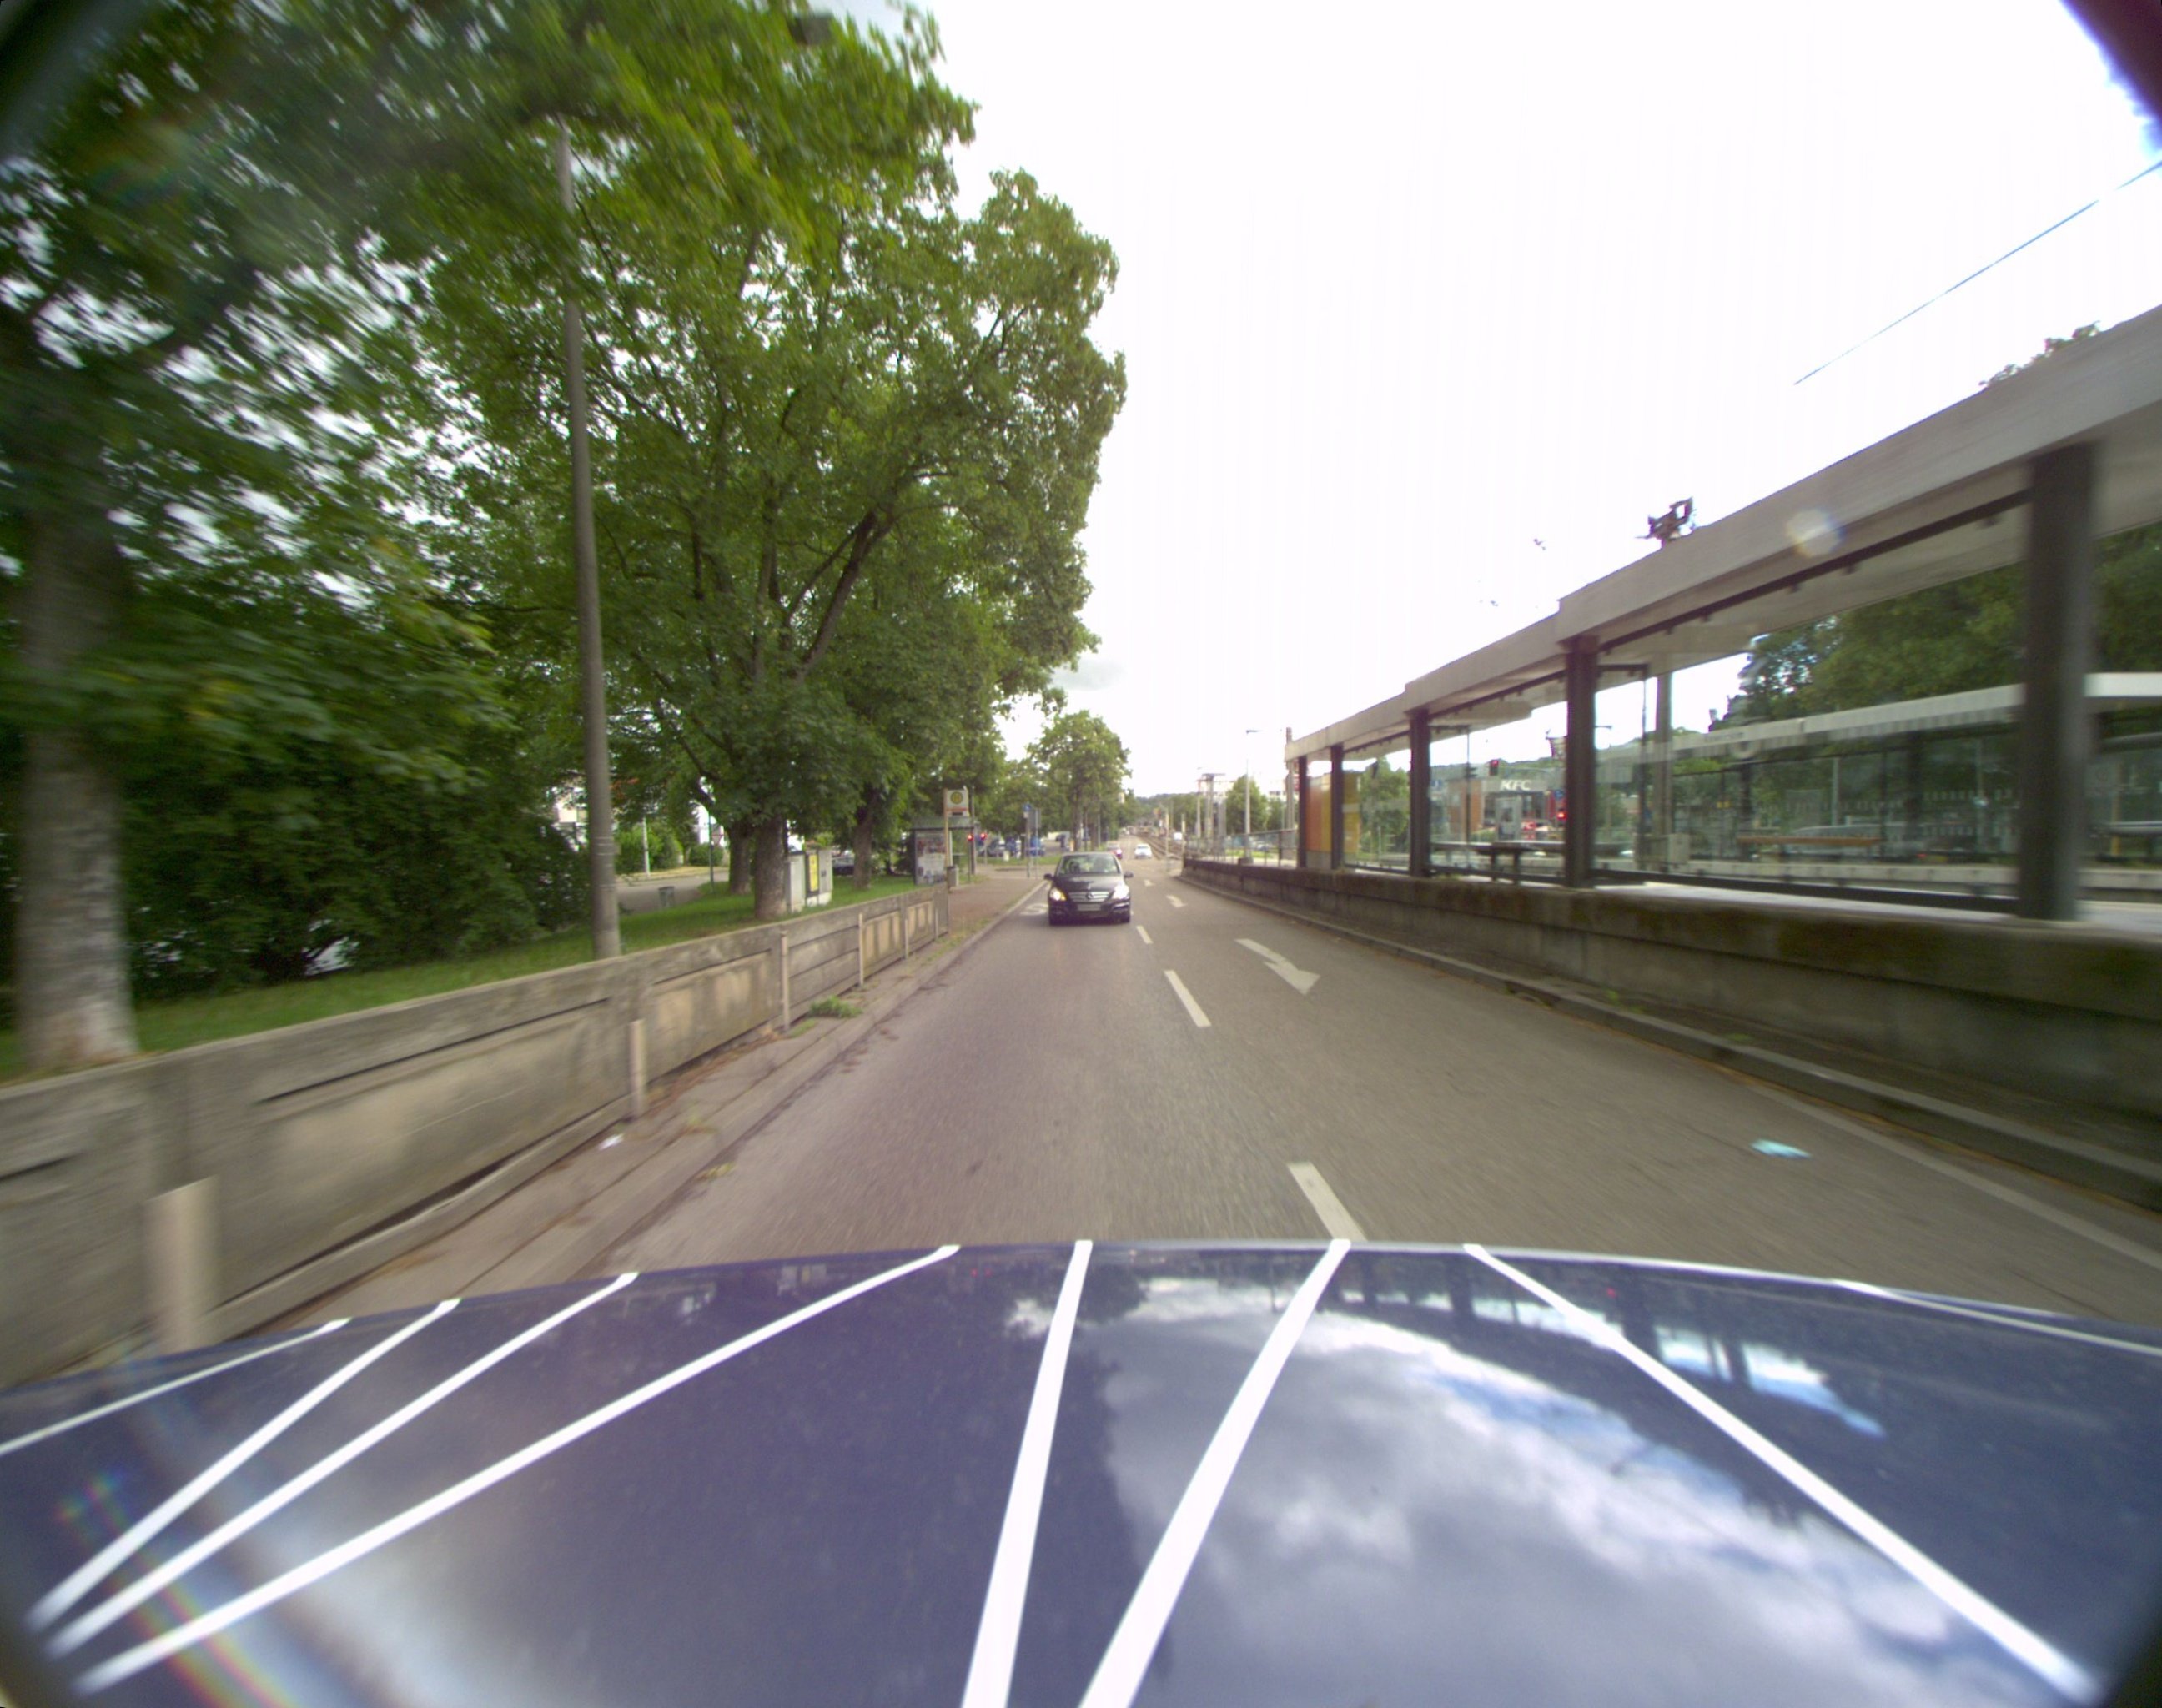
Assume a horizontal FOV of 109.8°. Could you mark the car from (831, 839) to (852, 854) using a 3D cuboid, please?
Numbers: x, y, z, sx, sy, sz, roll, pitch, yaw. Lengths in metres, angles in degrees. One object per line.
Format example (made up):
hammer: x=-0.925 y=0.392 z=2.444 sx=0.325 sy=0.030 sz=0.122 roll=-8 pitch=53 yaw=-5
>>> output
car: x=-31.770 y=-0.982 z=100.973 sx=1.948 sy=1.832 sz=4.247 roll=-3 pitch=2 yaw=-9

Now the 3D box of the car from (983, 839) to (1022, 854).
car: x=-9.241 y=-0.914 z=89.326 sx=4.215 sy=1.688 sz=1.837 roll=0 pitch=2 yaw=-16

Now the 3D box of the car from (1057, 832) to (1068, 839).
car: x=-4.343 y=-4.329 z=177.464 sx=1.998 sy=1.630 sz=4.326 roll=2 pitch=2 yaw=4

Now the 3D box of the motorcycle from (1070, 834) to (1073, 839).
motorcycle: x=-2.089 y=-3.916 z=171.745 sx=0.704 sy=1.180 sz=2.387 roll=0 pitch=2 yaw=-2

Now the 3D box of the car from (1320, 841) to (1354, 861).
car: x=24.124 y=-0.317 z=71.677 sx=1.714 sy=1.741 sz=4.398 roll=0 pitch=2 yaw=1

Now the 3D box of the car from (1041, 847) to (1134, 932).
car: x=0.259 y=0.717 z=17.530 sx=1.786 sy=1.614 sz=4.000 roll=-4 pitch=1 yaw=4

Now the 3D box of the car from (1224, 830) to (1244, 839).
car: x=35.393 y=-4.463 z=175.437 sx=4.354 sy=1.908 sz=2.000 roll=-3 pitch=2 yaw=7

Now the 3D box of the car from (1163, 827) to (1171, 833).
car: x=28.899 y=-8.148 z=255.241 sx=1.999 sy=2.002 sz=3.998 roll=1 pitch=2 yaw=-1

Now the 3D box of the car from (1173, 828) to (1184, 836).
car: x=24.254 y=-5.460 z=188.765 sx=1.999 sy=2.002 sz=4.883 roll=0 pitch=2 yaw=-2

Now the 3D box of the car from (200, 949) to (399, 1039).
car: x=-19.752 y=3.474 z=19.468 sx=1.483 sy=1.378 sz=3.836 roll=-3 pitch=2 yaw=-9

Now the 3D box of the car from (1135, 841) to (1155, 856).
car: x=6.810 y=-0.631 z=81.209 sx=1.786 sy=1.436 sz=3.999 roll=-3 pitch=2 yaw=2

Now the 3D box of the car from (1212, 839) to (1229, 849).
car: x=20.950 y=-1.572 z=114.380 sx=1.599 sy=1.438 sz=4.051 roll=1 pitch=2 yaw=-3

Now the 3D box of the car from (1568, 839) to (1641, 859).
car: x=37.493 y=-0.392 z=54.531 sx=3.884 sy=1.400 sz=1.848 roll=0 pitch=2 yaw=12

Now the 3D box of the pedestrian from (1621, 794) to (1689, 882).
pedestrian: x=14.554 y=-0.400 z=19.298 sx=0.972 sy=2.174 sz=0.976 roll=-1 pitch=2 yaw=2

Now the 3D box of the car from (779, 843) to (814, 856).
car: x=-36.109 y=-0.622 z=96.464 sx=3.555 sy=1.449 sz=1.775 roll=-3 pitch=2 yaw=4

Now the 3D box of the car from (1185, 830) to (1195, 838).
car: x=28.022 y=-5.210 z=194.734 sx=1.999 sy=2.002 sz=4.105 roll=0 pitch=2 yaw=-1

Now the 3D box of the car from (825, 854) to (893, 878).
car: x=-15.208 y=0.840 z=52.140 sx=4.160 sy=1.517 sz=1.705 roll=0 pitch=3 yaw=9

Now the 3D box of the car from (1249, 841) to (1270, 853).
car: x=23.269 y=-0.880 z=99.042 sx=1.690 sy=1.438 sz=3.998 roll=1 pitch=2 yaw=-2

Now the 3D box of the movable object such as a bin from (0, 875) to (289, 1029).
movable object such as a bin: x=-22.072 y=2.015 z=17.249 sx=2.000 sy=2.609 sz=6.266 roll=-3 pitch=2 yaw=-7
